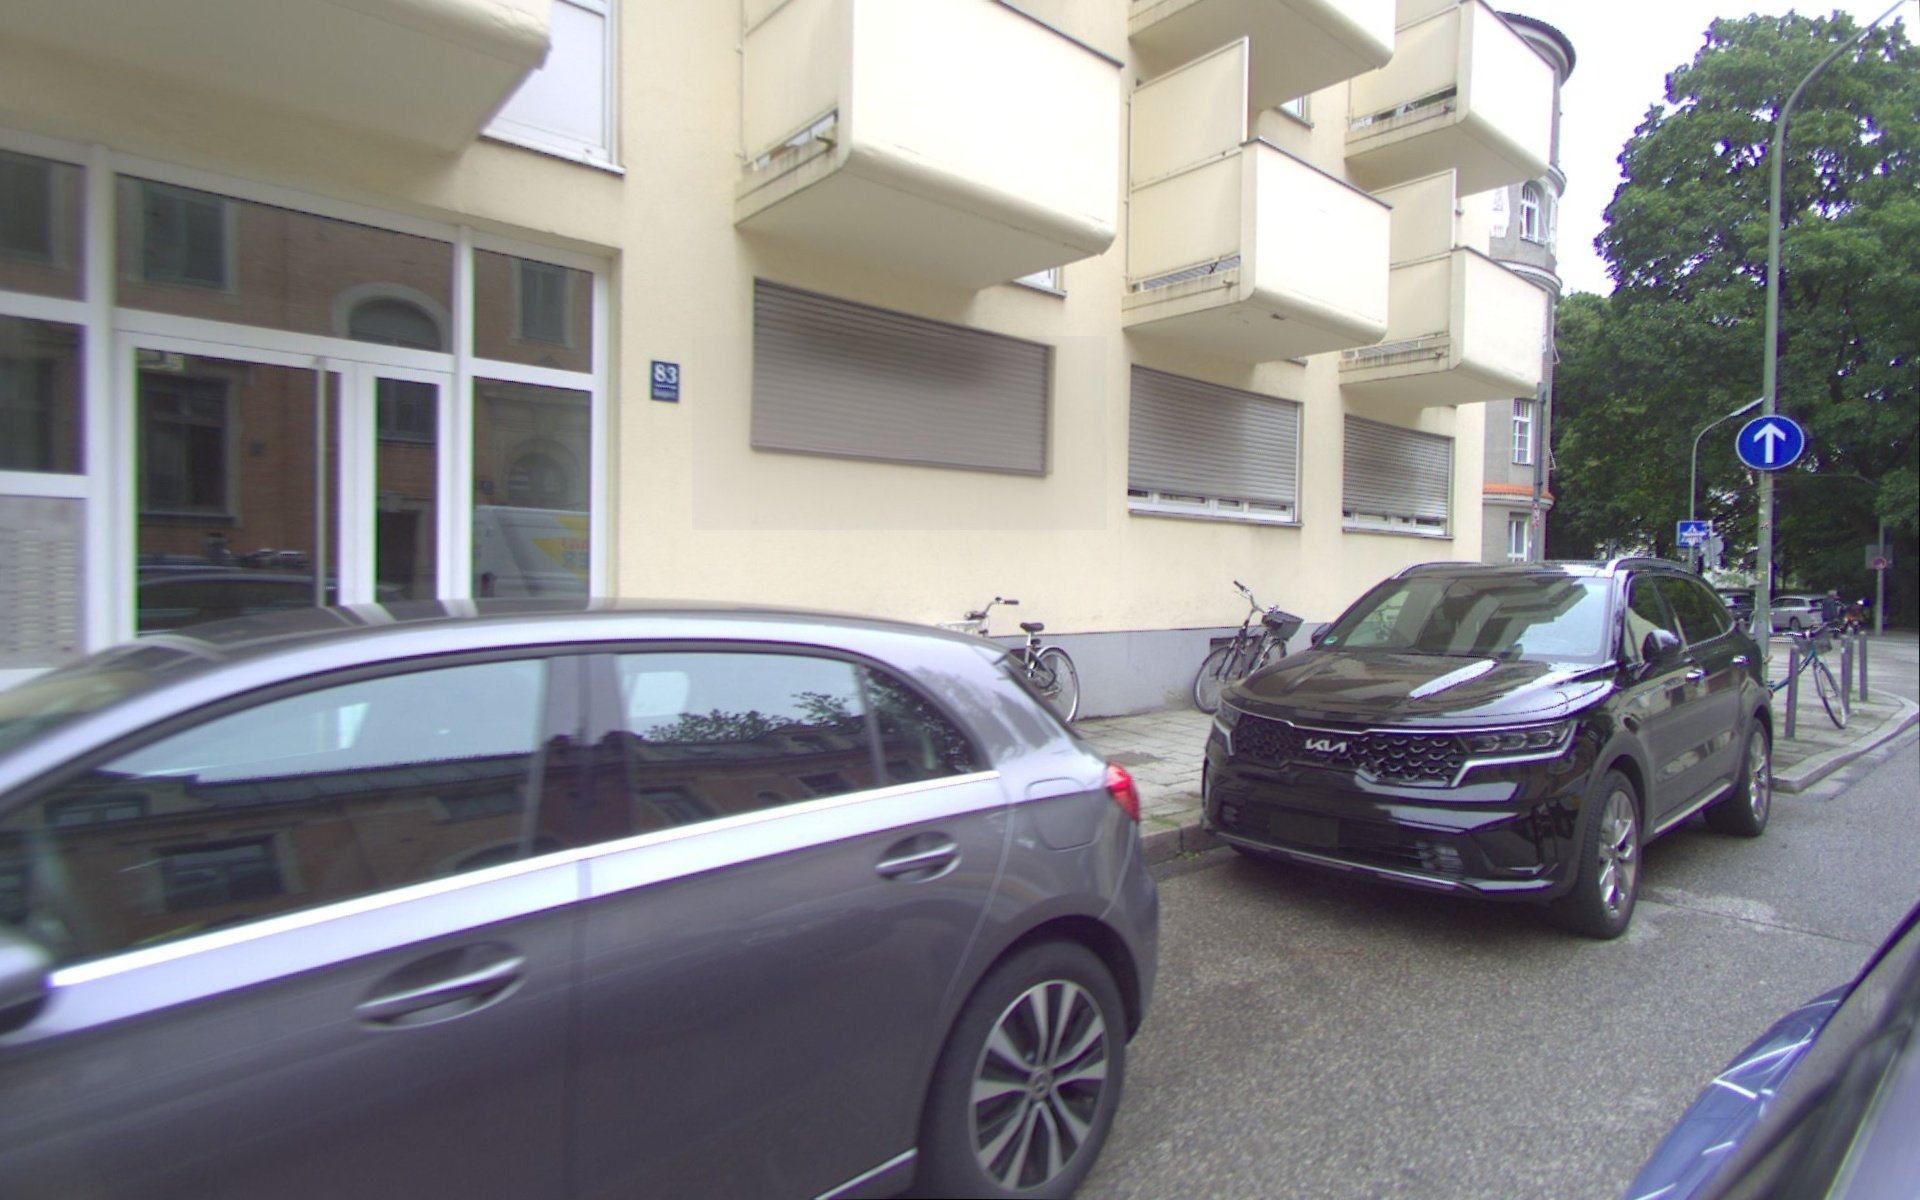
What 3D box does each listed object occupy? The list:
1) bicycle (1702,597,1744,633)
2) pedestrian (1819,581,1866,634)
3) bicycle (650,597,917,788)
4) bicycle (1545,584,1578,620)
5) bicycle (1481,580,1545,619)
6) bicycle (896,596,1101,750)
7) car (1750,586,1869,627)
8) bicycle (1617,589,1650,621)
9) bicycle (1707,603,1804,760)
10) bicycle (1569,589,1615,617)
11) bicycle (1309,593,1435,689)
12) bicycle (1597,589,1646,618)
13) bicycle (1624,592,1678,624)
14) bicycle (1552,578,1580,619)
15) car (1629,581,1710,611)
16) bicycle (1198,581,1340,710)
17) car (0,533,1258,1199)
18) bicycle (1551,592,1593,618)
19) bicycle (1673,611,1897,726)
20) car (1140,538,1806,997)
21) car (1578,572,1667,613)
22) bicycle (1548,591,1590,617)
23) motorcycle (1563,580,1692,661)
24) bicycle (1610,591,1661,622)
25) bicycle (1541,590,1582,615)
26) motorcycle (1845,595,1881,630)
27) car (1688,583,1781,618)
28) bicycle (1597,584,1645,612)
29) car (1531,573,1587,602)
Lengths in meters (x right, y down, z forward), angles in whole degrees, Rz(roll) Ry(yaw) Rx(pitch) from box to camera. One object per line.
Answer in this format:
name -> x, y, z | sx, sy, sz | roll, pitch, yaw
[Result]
bicycle -> 23.215, 0.441, 30.784 | 1.971, 1.022, 0.512 | -1, 3, -38
pedestrian -> 28.212, 0.235, 32.357 | 0.712, 1.662, 0.814 | 1, 2, -2
bicycle -> -1.122, 0.542, 6.736 | 0.580, 1.067, 1.734 | 3, 3, 44
bicycle -> 21.104, 0.055, 35.506 | 0.563, 1.170, 1.897 | 7, 5, 42
bicycle -> 18.619, -0.020, 34.076 | 1.886, 1.271, 0.740 | 0, 2, -15
bicycle -> 0.356, 0.525, 8.186 | 0.580, 1.067, 1.808 | 3, 3, 44
car -> 34.146, 0.208, 40.850 | 1.598, 1.466, 4.425 | 1, 2, 9
bicycle -> 25.698, 0.177, 38.599 | 1.653, 1.161, 0.512 | -1, 3, -38
bicycle -> 6.967, 0.645, 8.920 | 0.578, 1.168, 1.937 | 2, 3, 37
bicycle -> 28.052, 0.116, 44.957 | 1.671, 1.161, 0.506 | 2, 2, 31
bicycle -> 5.016, 0.461, 12.269 | 1.730, 1.067, 0.581 | -1, 3, -37
bicycle -> 27.868, 0.138, 42.649 | 1.671, 1.161, 0.506 | 2, 2, 31
bicycle -> 27.444, 0.301, 40.203 | 1.695, 1.161, 0.506 | 2, 2, 31
bicycle -> 22.305, -0.085, 37.254 | 0.731, 1.431, 1.908 | 2, 2, 27
car -> 36.859, -0.236, 52.707 | 1.598, 1.466, 4.425 | 1, 2, 9
bicycle -> 3.259, 0.422, 10.591 | 0.687, 1.221, 1.735 | 3, 3, 44
car -> -1.376, 0.650, 2.007 | 4.339, 1.478, 1.730 | -1, 1, -41
bicycle -> 28.621, 0.217, 47.351 | 1.671, 1.161, 0.506 | 2, 2, 31
bicycle -> 9.001, 0.713, 11.149 | 1.746, 1.079, 0.768 | 2, 2, 28
car -> 3.196, 0.536, 5.822 | 4.471, 1.659, 1.853 | -1, 3, -41
car -> 34.976, -0.434, 53.627 | 2.012, 2.067, 4.947 | 1, 1, 8
bicycle -> 28.930, 0.179, 48.088 | 1.671, 1.161, 0.506 | 2, 2, 31
motorcycle -> 12.460, 0.343, 18.980 | 0.800, 1.372, 2.088 | 1, 2, -7
bicycle -> 27.401, 0.261, 41.089 | 1.671, 1.161, 0.461 | 2, 2, 31
bicycle -> 29.166, 0.112, 49.108 | 1.671, 1.161, 0.506 | 2, 2, 31
motorcycle -> 32.106, 0.433, 36.006 | 0.855, 1.199, 1.977 | -2, 0, 40
car -> 35.388, -0.009, 46.383 | 1.600, 1.466, 4.419 | 1, 2, 12
bicycle -> 28.205, -0.096, 43.217 | 1.671, 1.161, 0.506 | 2, 2, 31
car -> 40.130, -0.851, 67.932 | 1.750, 1.841, 4.502 | 2, 2, 11
